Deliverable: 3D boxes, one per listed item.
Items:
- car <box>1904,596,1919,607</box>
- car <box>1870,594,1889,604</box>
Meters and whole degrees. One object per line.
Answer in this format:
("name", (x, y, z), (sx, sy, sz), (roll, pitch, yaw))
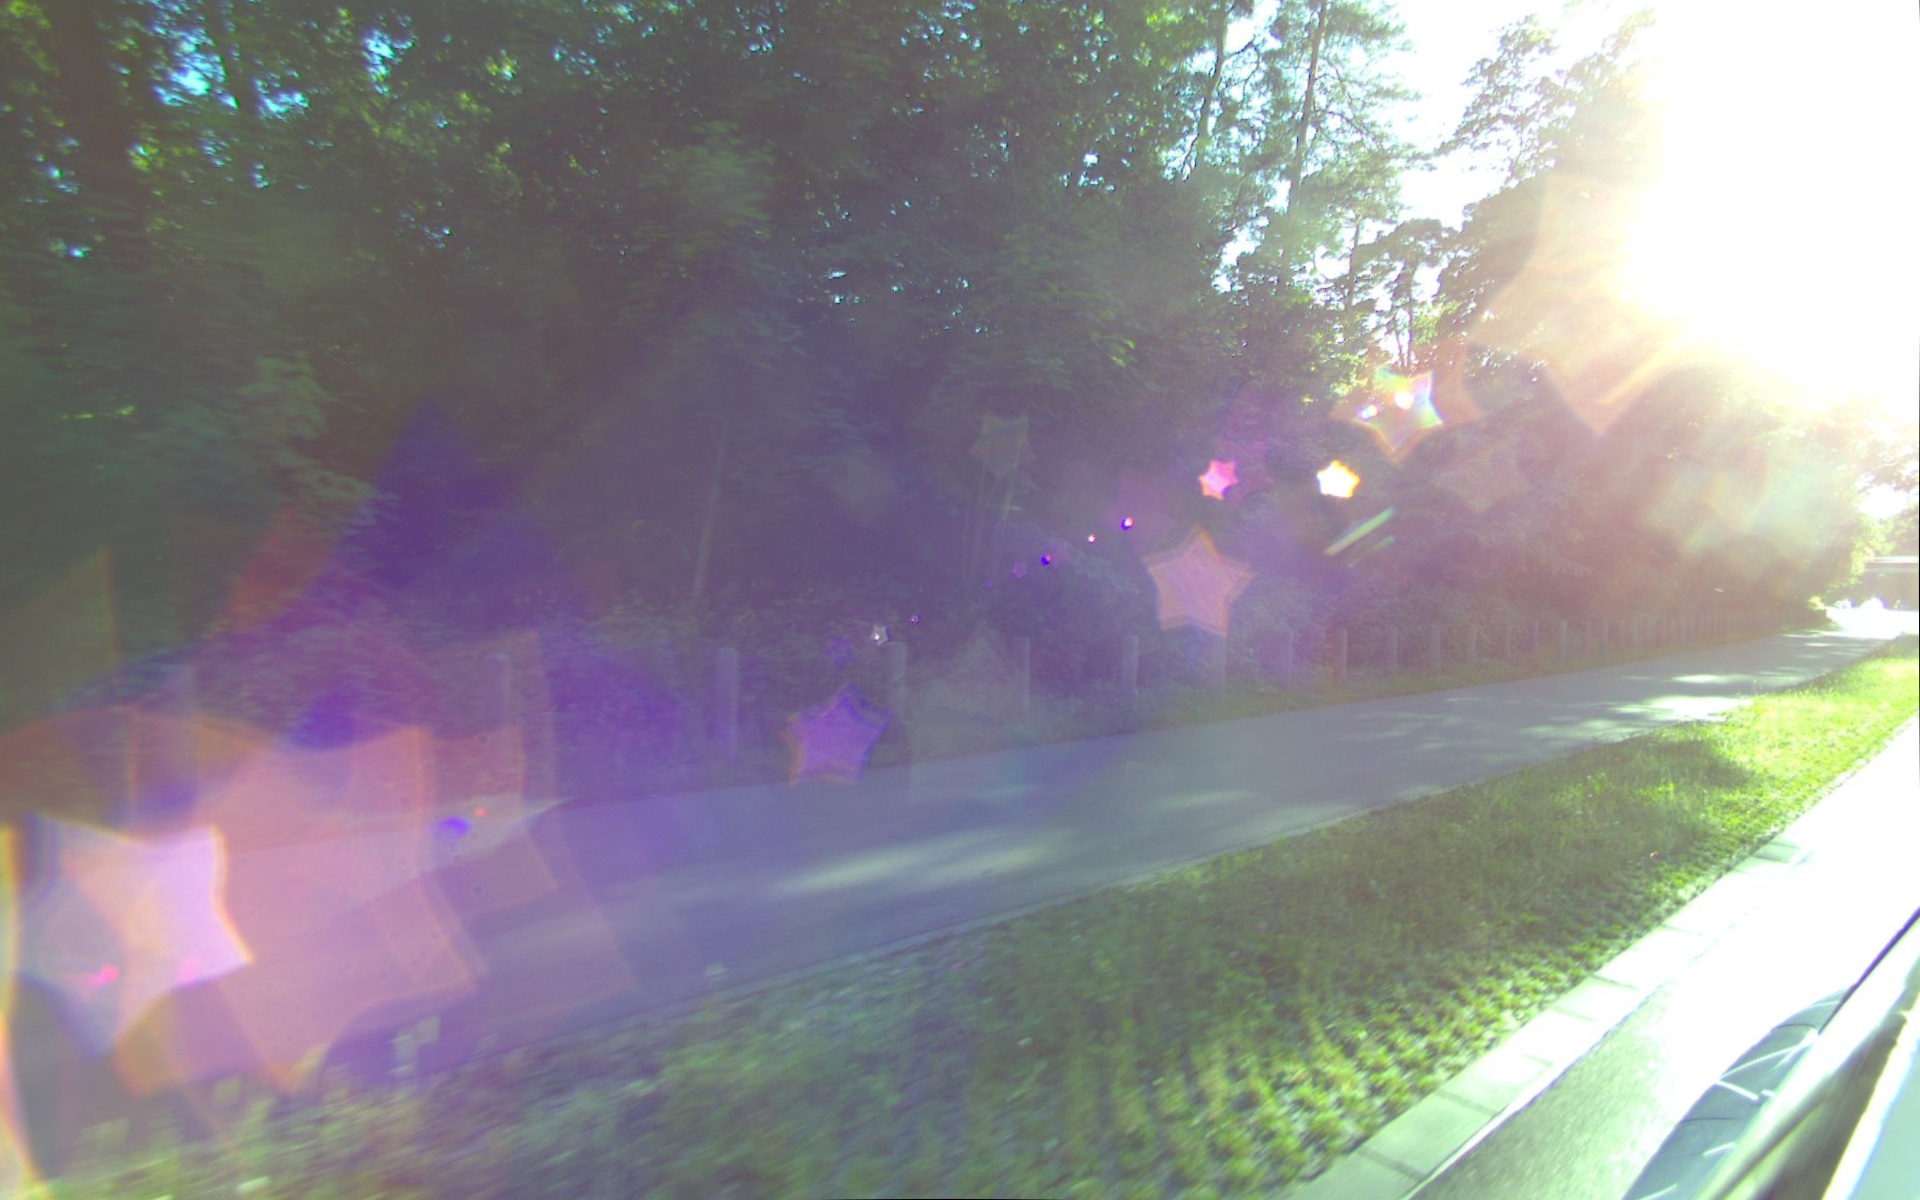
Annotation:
("car", (168.463, 0.263, 178.957), (1.998, 1.849, 4.928), (-1, 0, 39))
("car", (155.340, -0.218, 171.014), (1.816, 1.705, 3.949), (2, 1, 35))
